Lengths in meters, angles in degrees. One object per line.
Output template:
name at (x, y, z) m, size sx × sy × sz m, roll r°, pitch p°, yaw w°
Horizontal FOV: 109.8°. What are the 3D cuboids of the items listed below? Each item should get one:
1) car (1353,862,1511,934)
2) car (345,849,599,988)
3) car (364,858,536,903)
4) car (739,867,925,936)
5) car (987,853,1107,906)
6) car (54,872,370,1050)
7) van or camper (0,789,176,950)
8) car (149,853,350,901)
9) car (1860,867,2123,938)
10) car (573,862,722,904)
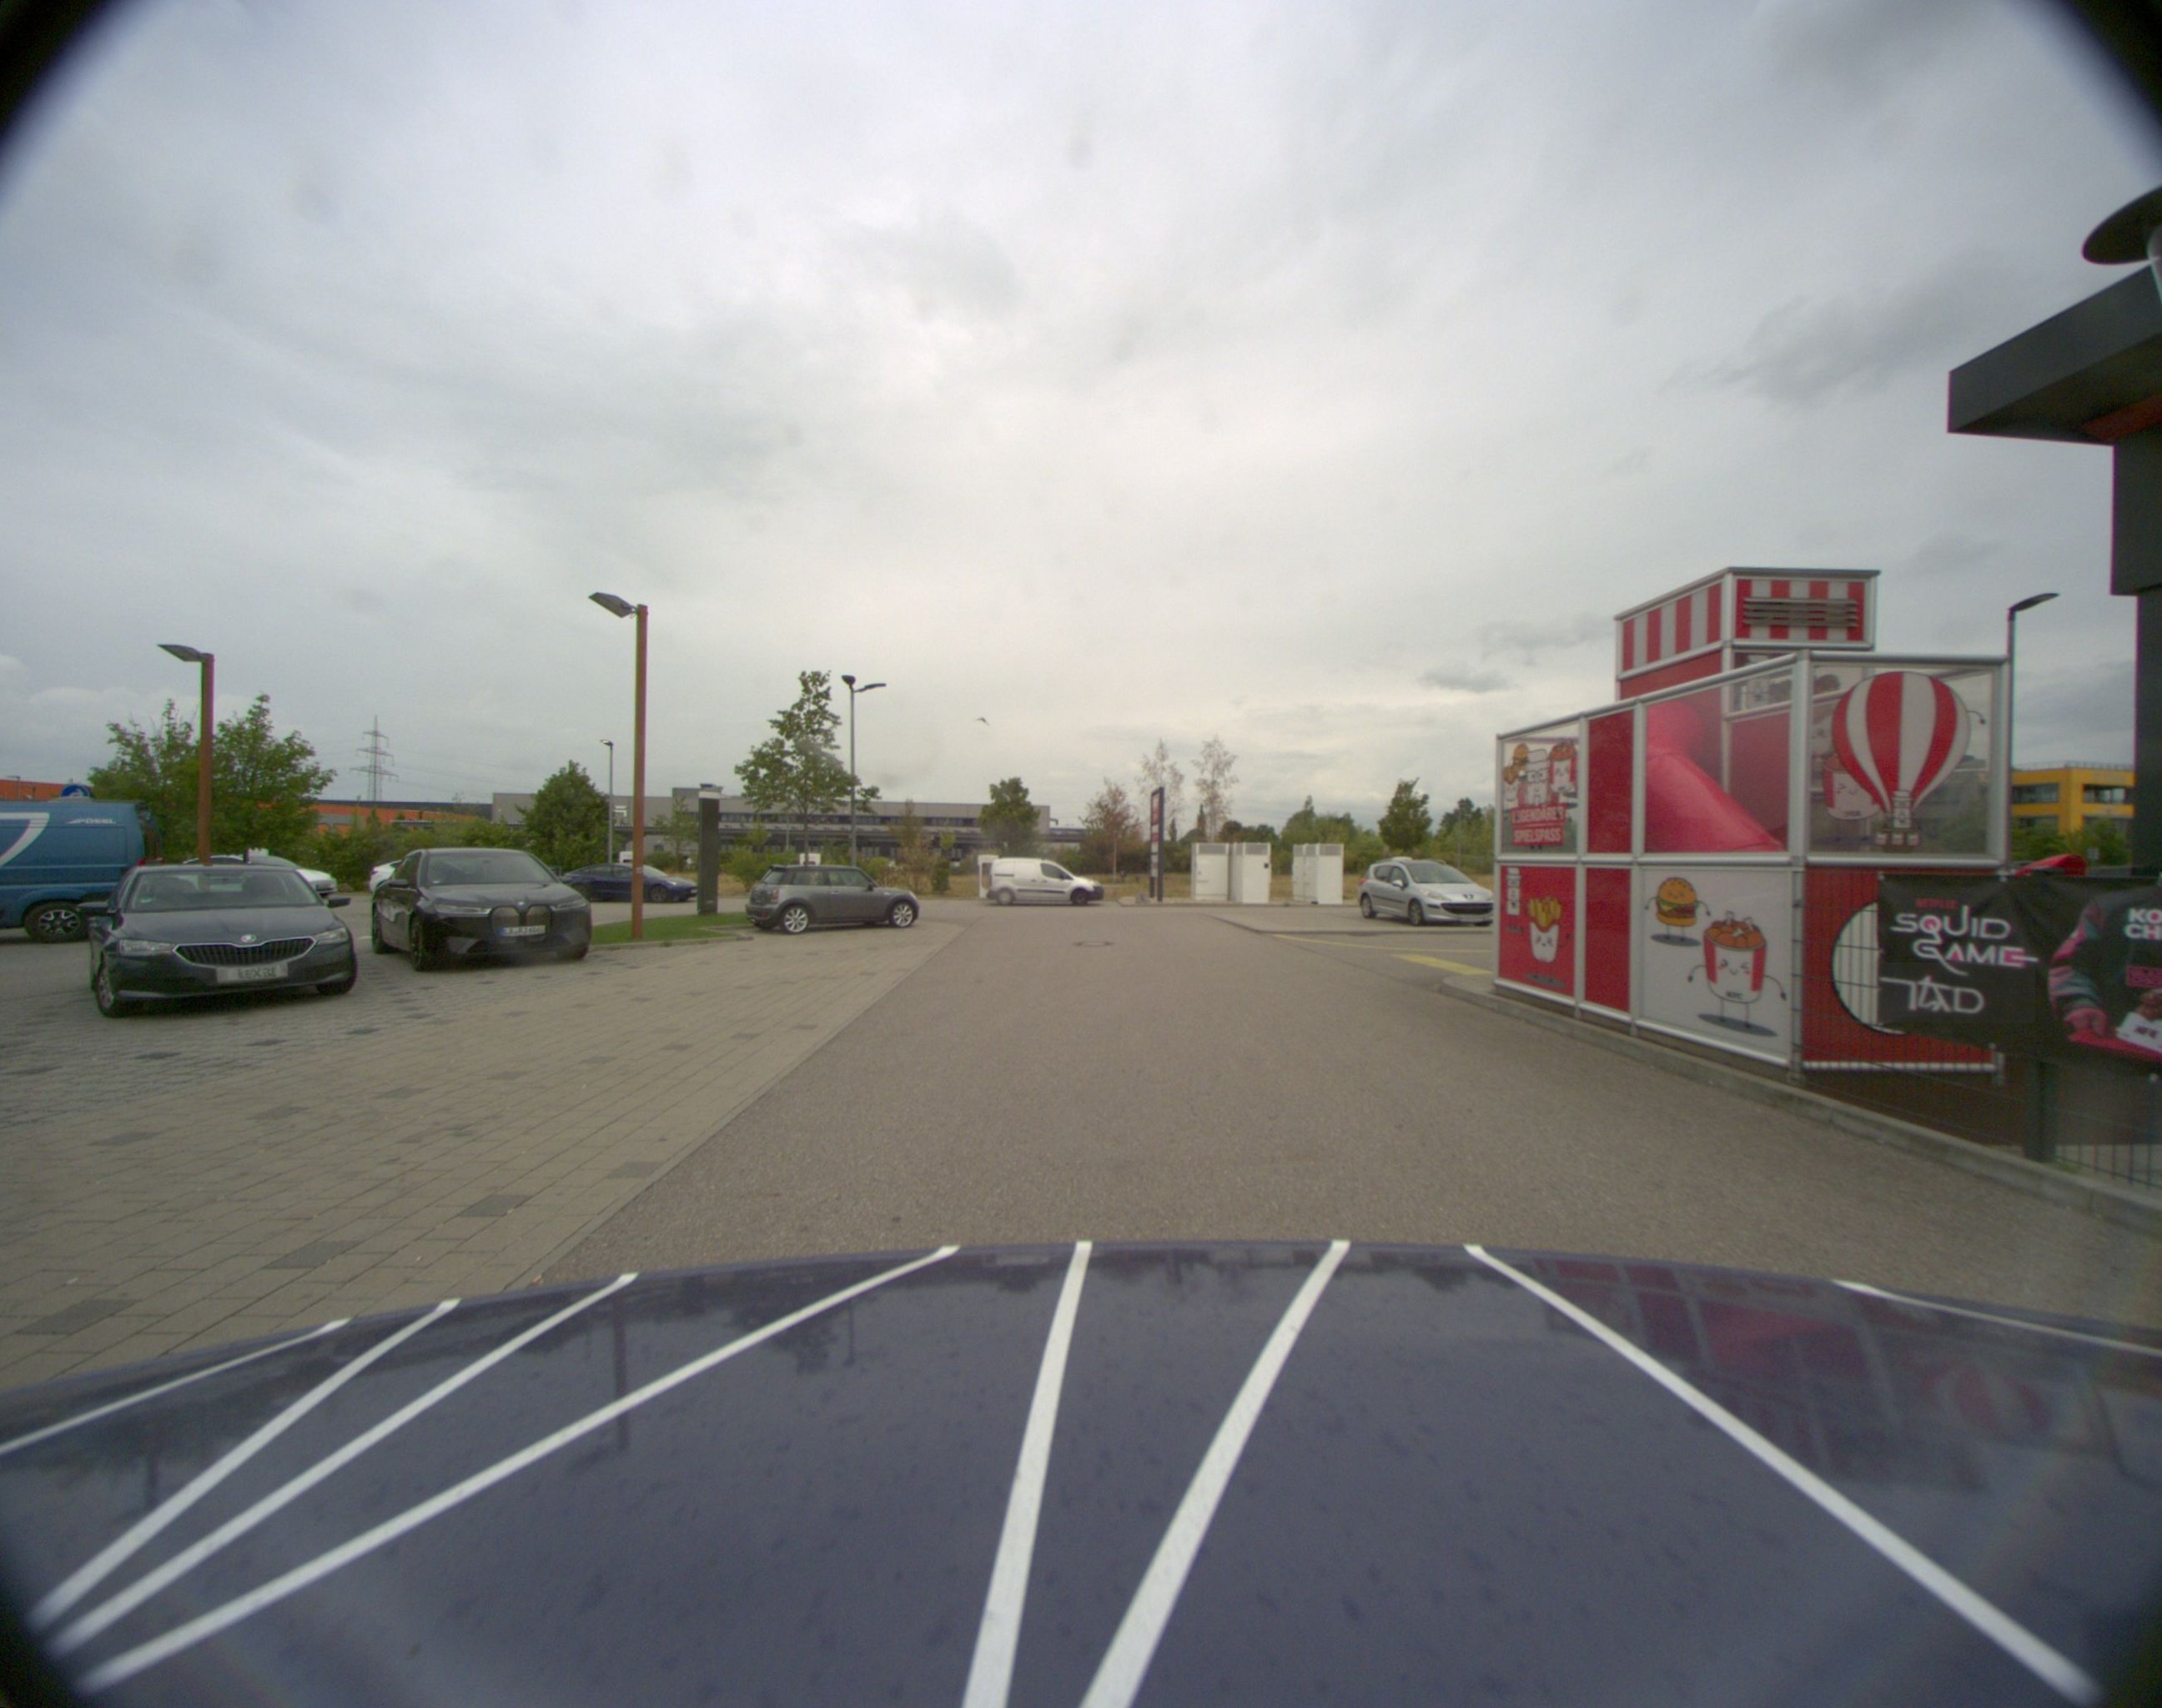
car at (8.138, 0.948, 18.058) m, size 1.628 × 1.496 × 4.167 m, roll 1°, pitch 0°, yaw -3°
car at (-9.484, 0.825, 11.682) m, size 4.882 × 1.717 × 2.005 m, roll 0°, pitch -1°, yaw 39°
car at (-23.027, 0.945, 27.906) m, size 4.476 × 1.544 × 2.072 m, roll 0°, pitch 0°, yaw -4°
car at (-5.405, 0.992, 16.730) m, size 3.535 × 1.367 × 1.605 m, roll 2°, pitch -2°, yaw -43°
car at (-1.289, 0.954, 28.683) m, size 4.335 × 1.876 × 1.946 m, roll 1°, pitch -1°, yaw -3°
car at (-9.658, 0.960, 8.376) m, size 3.988 × 1.403 × 1.836 m, roll 0°, pitch 1°, yaw 35°
van or camper at (-19.987, 0.290, 12.323) m, size 6.587 × 2.685 × 2.166 m, roll -1°, pitch 1°, yaw -44°
car at (-30.153, 0.823, 27.689) m, size 4.942 × 1.592 × 2.073 m, roll 1°, pitch 0°, yaw -2°
car at (19.866, 0.998, 16.850) m, size 1.431 × 1.386 × 3.684 m, roll 1°, pitch -1°, yaw 0°
car at (-16.044, 1.052, 28.271) m, size 4.453 × 1.450 × 1.833 m, roll 1°, pitch 1°, yaw -1°
